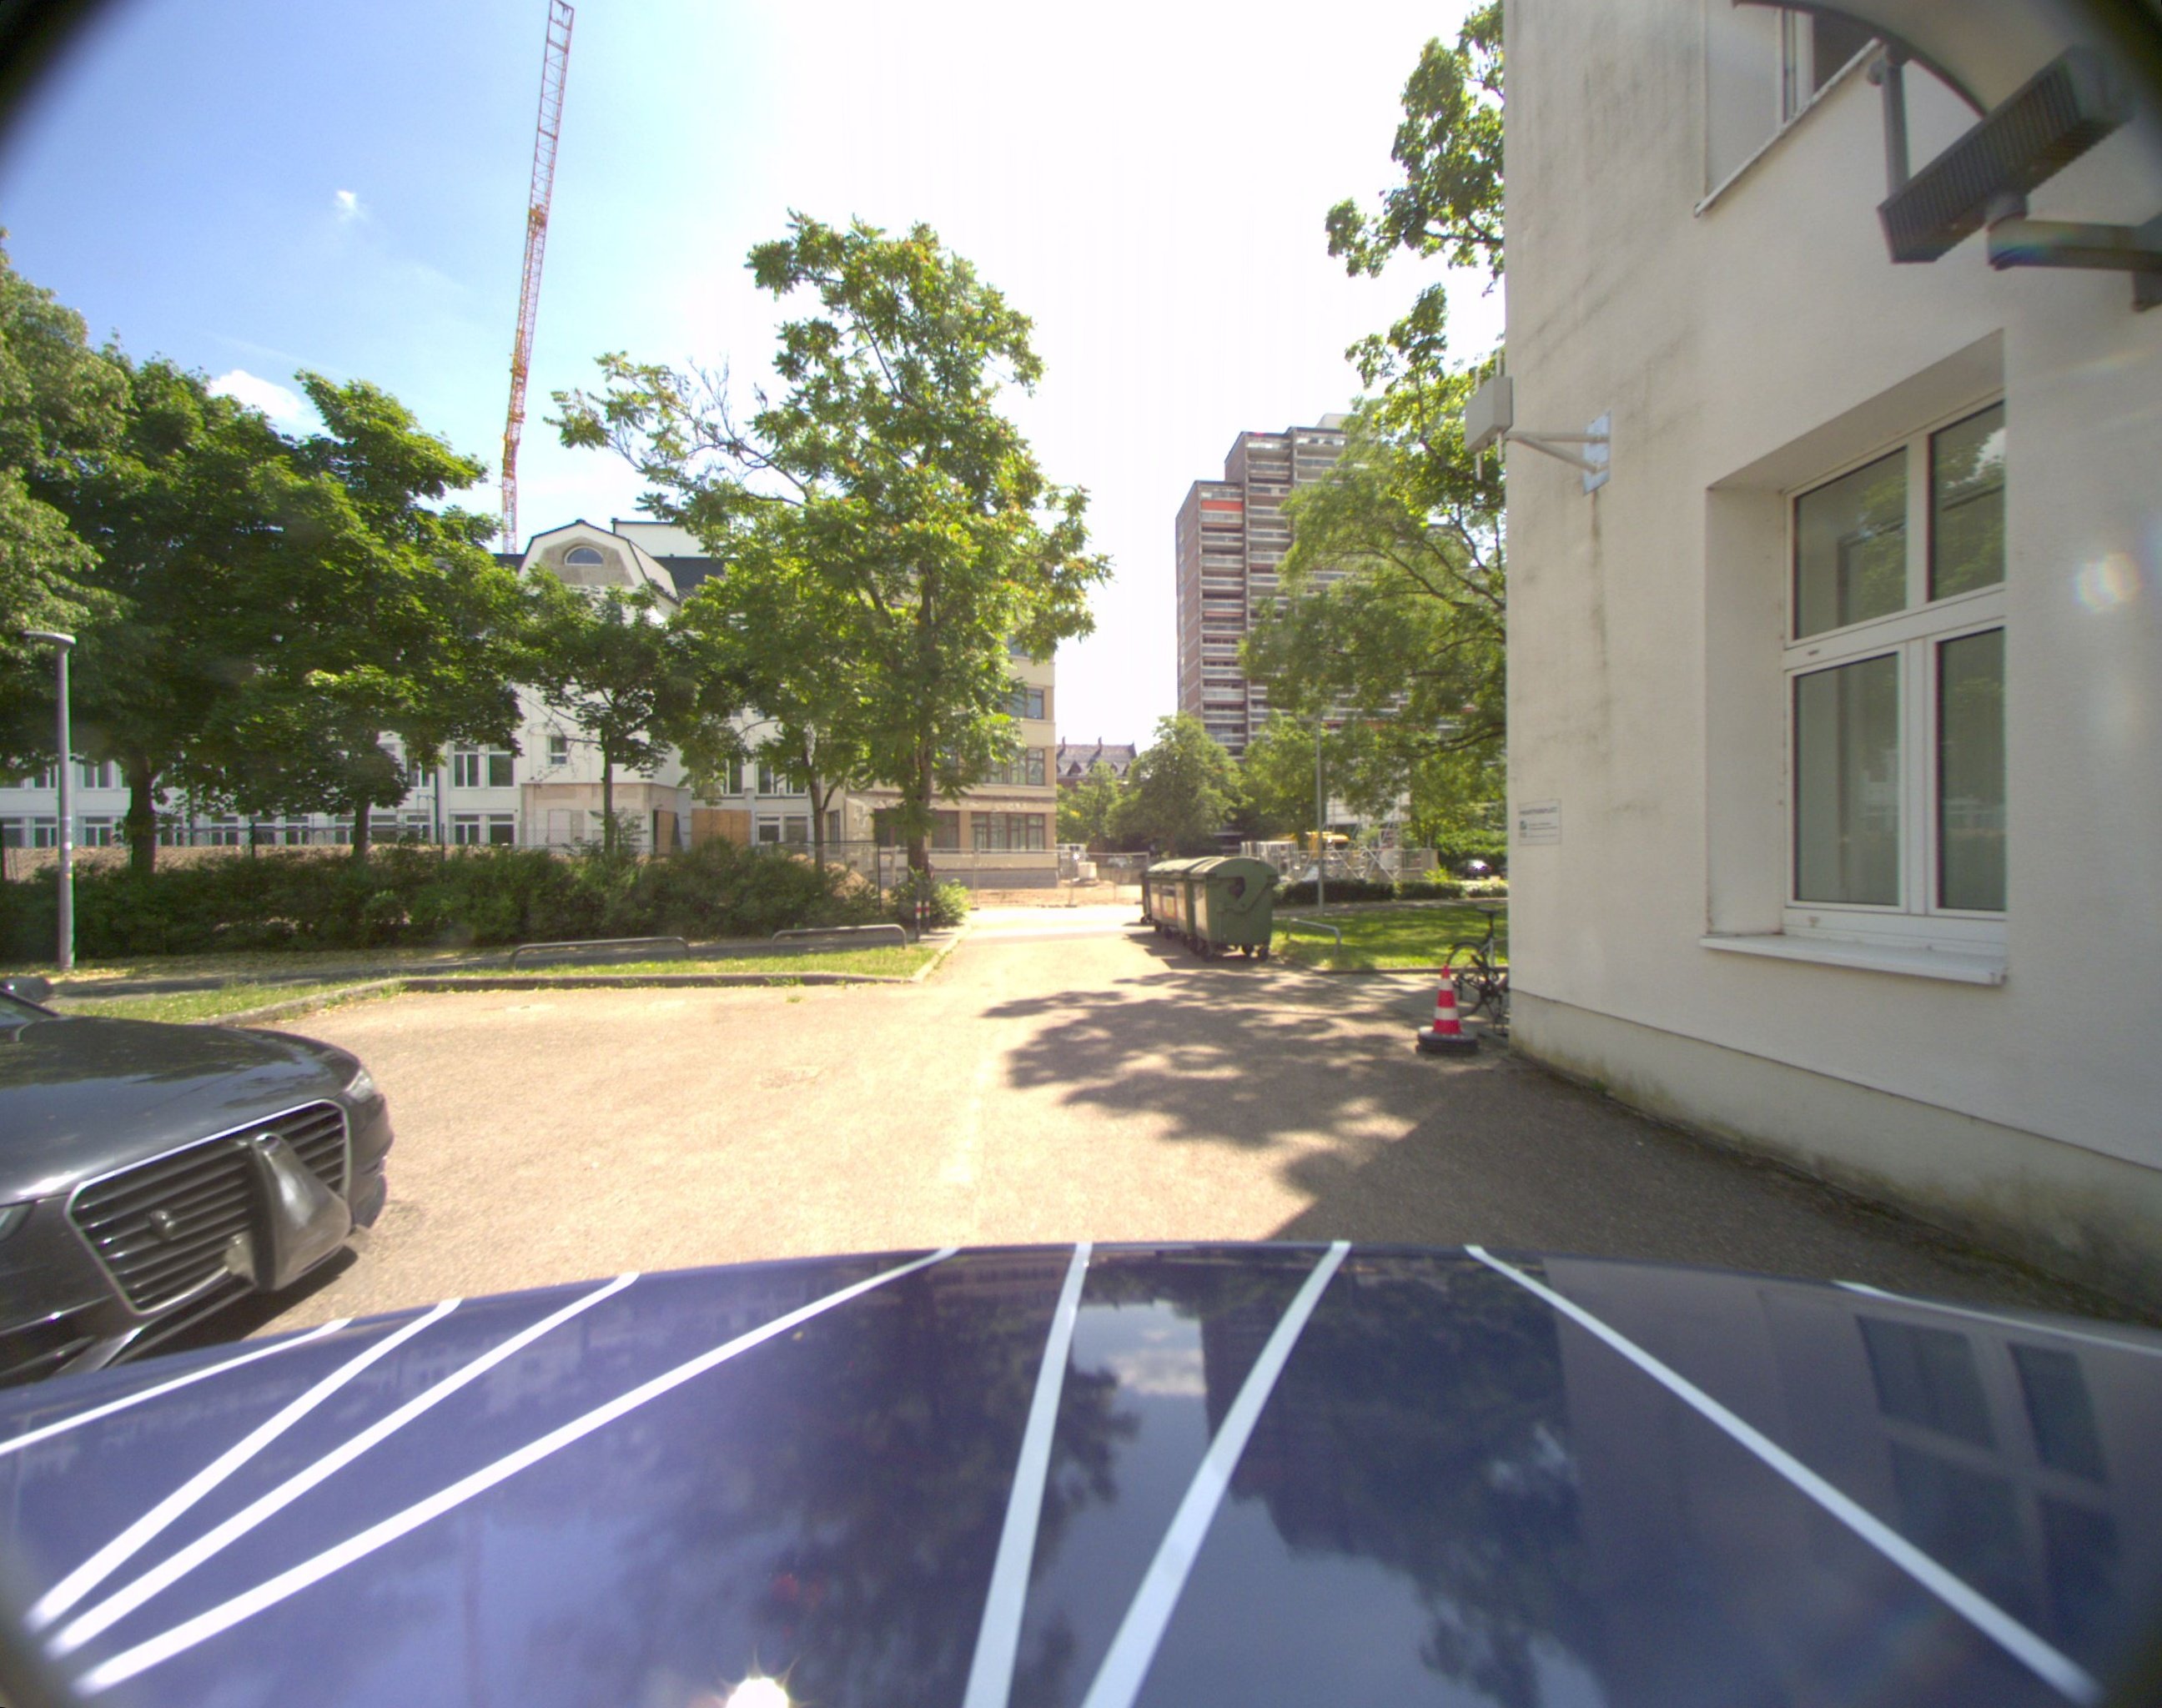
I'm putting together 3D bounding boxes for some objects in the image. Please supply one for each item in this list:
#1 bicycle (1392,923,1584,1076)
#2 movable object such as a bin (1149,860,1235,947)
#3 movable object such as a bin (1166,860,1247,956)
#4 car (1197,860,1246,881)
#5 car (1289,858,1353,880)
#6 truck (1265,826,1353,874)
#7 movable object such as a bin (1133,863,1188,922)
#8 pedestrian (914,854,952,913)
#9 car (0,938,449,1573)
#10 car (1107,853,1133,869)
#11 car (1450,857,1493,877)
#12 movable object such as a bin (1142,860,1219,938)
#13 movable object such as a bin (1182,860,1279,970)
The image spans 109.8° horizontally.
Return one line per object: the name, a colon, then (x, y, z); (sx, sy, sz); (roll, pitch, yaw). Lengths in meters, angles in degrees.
bicycle: (3.276, 1.122, 6.317); (0.613, 0.952, 1.729); (0, 0, -2)
movable object such as a bin: (1.993, 0.856, 13.813); (1.097, 1.471, 1.358); (0, 0, -15)
movable object such as a bin: (2.006, 0.845, 12.354); (1.047, 1.471, 1.261); (0, 0, -4)
car: (10.086, 1.144, 54.891); (1.625, 1.431, 3.575); (0, 0, -28)
car: (18.416, 1.131, 58.570); (2.004, 1.597, 4.388); (-1, 0, -35)
truck: (20.277, -0.337, 68.306); (2.752, 3.982, 9.731); (-1, 0, -16)
movable object such as a bin: (1.985, 0.916, 18.786); (1.113, 1.386, 1.162); (0, 0, 19)
pedestrian: (-4.642, 0.893, 23.807); (0.969, 1.809, 0.869); (0, 0, -25)
car: (-4.867, 1.027, 2.061); (4.625, 1.344, 1.833); (0, 0, -4)
car: (4.871, 0.861, 94.143); (1.995, 2.002, 4.007); (0, 0, 23)
car: (27.365, 0.867, 53.352); (1.627, 1.365, 4.026); (0, 0, 11)
movable object such as a bin: (1.952, 0.866, 15.129); (1.208, 1.471, 1.324); (0, 0, -7)
movable object such as a bin: (2.117, 0.833, 10.957); (1.047, 1.471, 1.409); (0, 0, -4)
